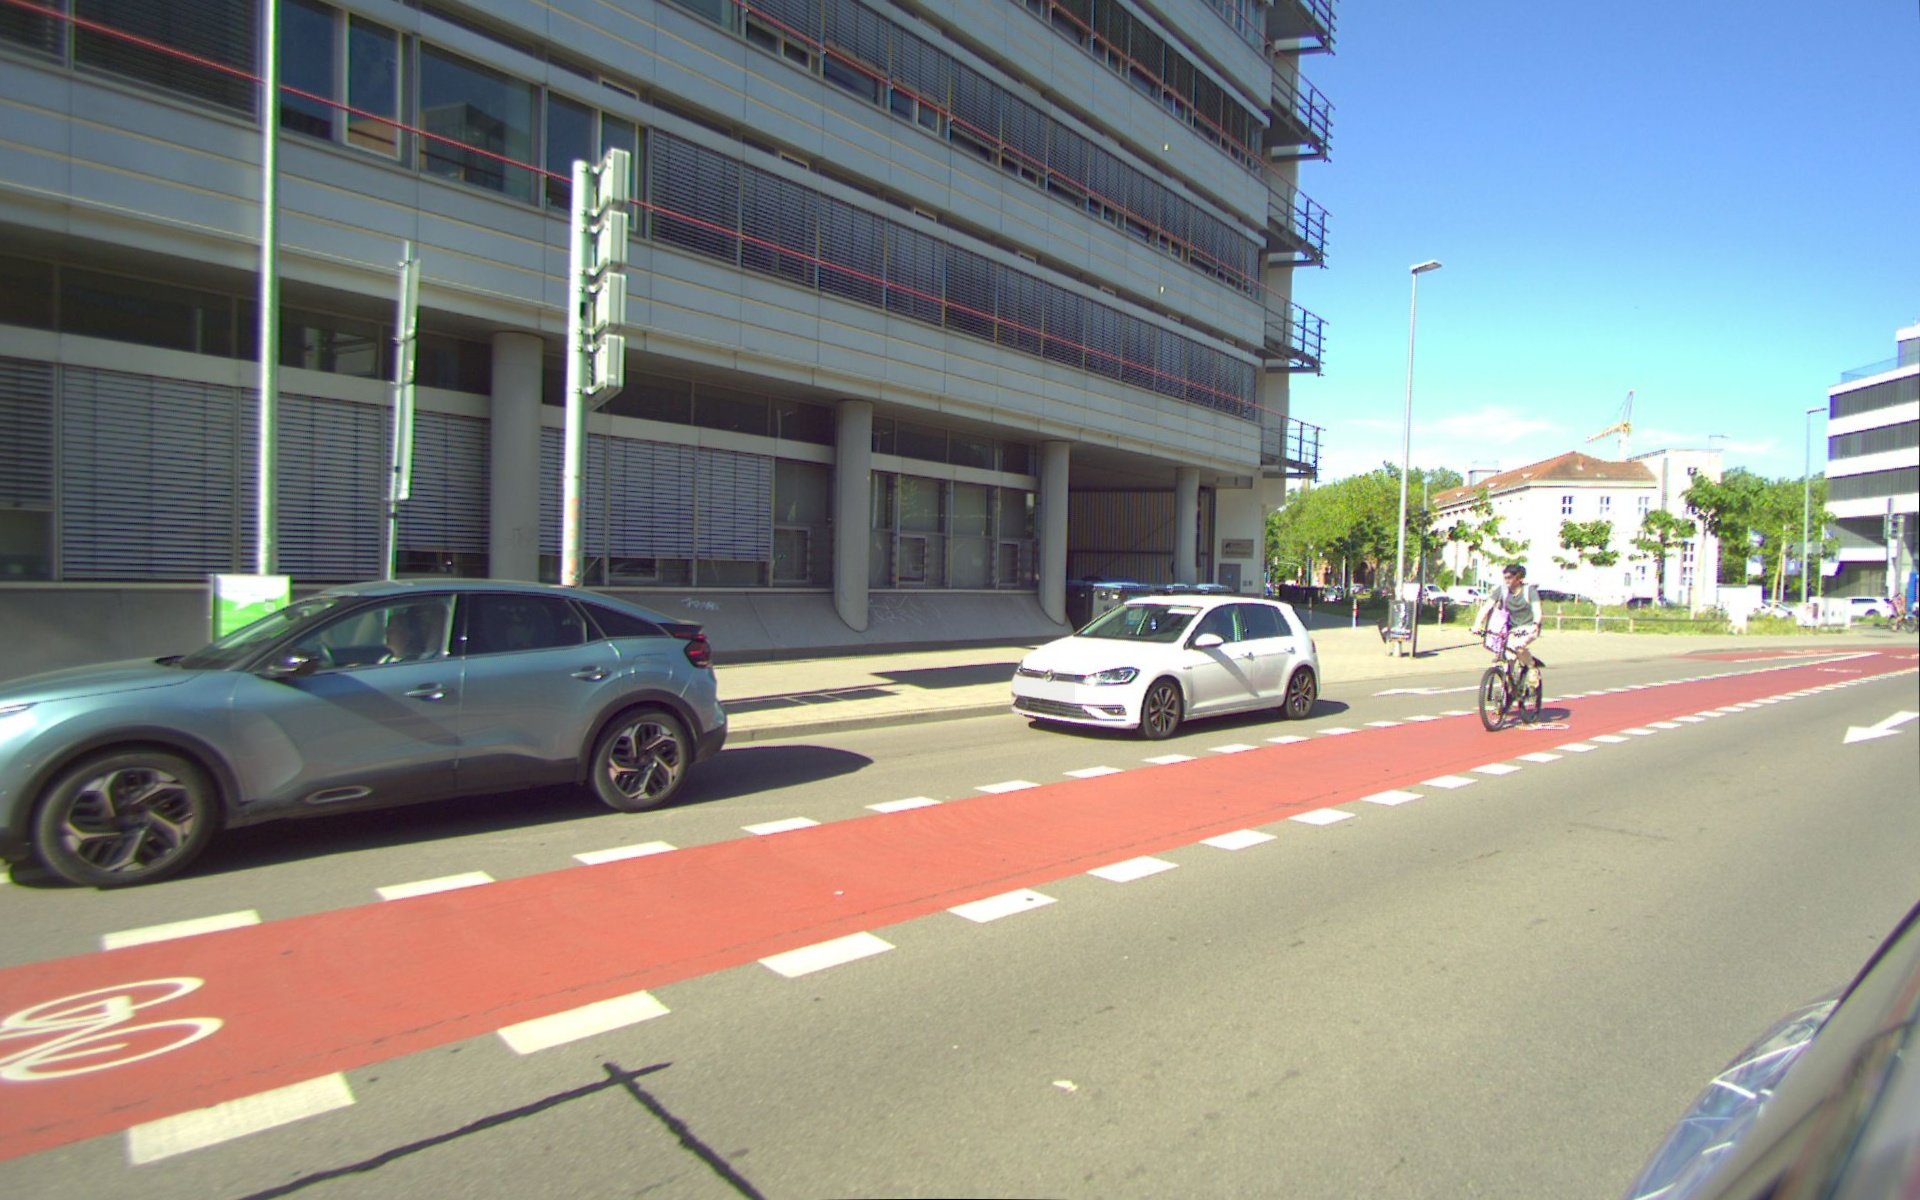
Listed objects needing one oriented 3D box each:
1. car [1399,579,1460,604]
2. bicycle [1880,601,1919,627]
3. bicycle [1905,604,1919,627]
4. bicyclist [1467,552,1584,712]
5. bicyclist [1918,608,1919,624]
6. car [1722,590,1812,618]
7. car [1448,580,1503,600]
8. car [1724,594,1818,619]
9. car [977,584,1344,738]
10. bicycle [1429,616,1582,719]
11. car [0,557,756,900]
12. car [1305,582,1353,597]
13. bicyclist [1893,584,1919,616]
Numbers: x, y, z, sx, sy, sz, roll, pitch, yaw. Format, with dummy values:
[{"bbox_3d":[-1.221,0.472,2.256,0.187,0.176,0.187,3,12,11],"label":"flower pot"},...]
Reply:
[{"bbox_3d":[40.296,-0.735,86.942,1.836,2.006,4.664,1,2,-25],"label":"car"},{"bbox_3d":[44.004,0.661,46.878,0.683,1.118,2.015,3,2,-6],"label":"bicycle"},{"bbox_3d":[49.862,0.863,51.775,0.682,1.118,2.017,5,3,-24],"label":"bicycle"},{"bbox_3d":[6.411,0.339,11.476,1.031,1.714,0.809,0,0,-36],"label":"bicyclist"},{"bbox_3d":[49.899,0.452,51.766,0.583,1.673,1.006,2,5,-24],"label":"bicyclist"},{"bbox_3d":[50.746,0.245,63.712,1.836,1.575,4.008,0,2,-25],"label":"car"},{"bbox_3d":[44.172,-0.857,86.821,1.835,1.575,4.009,1,2,-21],"label":"car"},{"bbox_3d":[53.626,0.412,67.011,1.804,1.448,4.492,-1,2,-26],"label":"car"},{"bbox_3d":[2.369,0.564,11.371,4.216,1.421,1.776,0,0,-39],"label":"car"},{"bbox_3d":[6.256,0.727,11.575,1.856,1.050,0.828,0,0,-36],"label":"bicycle"},{"bbox_3d":[-3.616,0.546,6.306,4.323,1.543,1.724,0,2,-42],"label":"car"},{"bbox_3d":[36.136,-1.059,99.194,1.835,1.286,4.666,1,2,-20],"label":"car"},{"bbox_3d":[44.035,0.008,46.954,0.683,1.394,0.739,3,2,-6],"label":"bicyclist"}]
